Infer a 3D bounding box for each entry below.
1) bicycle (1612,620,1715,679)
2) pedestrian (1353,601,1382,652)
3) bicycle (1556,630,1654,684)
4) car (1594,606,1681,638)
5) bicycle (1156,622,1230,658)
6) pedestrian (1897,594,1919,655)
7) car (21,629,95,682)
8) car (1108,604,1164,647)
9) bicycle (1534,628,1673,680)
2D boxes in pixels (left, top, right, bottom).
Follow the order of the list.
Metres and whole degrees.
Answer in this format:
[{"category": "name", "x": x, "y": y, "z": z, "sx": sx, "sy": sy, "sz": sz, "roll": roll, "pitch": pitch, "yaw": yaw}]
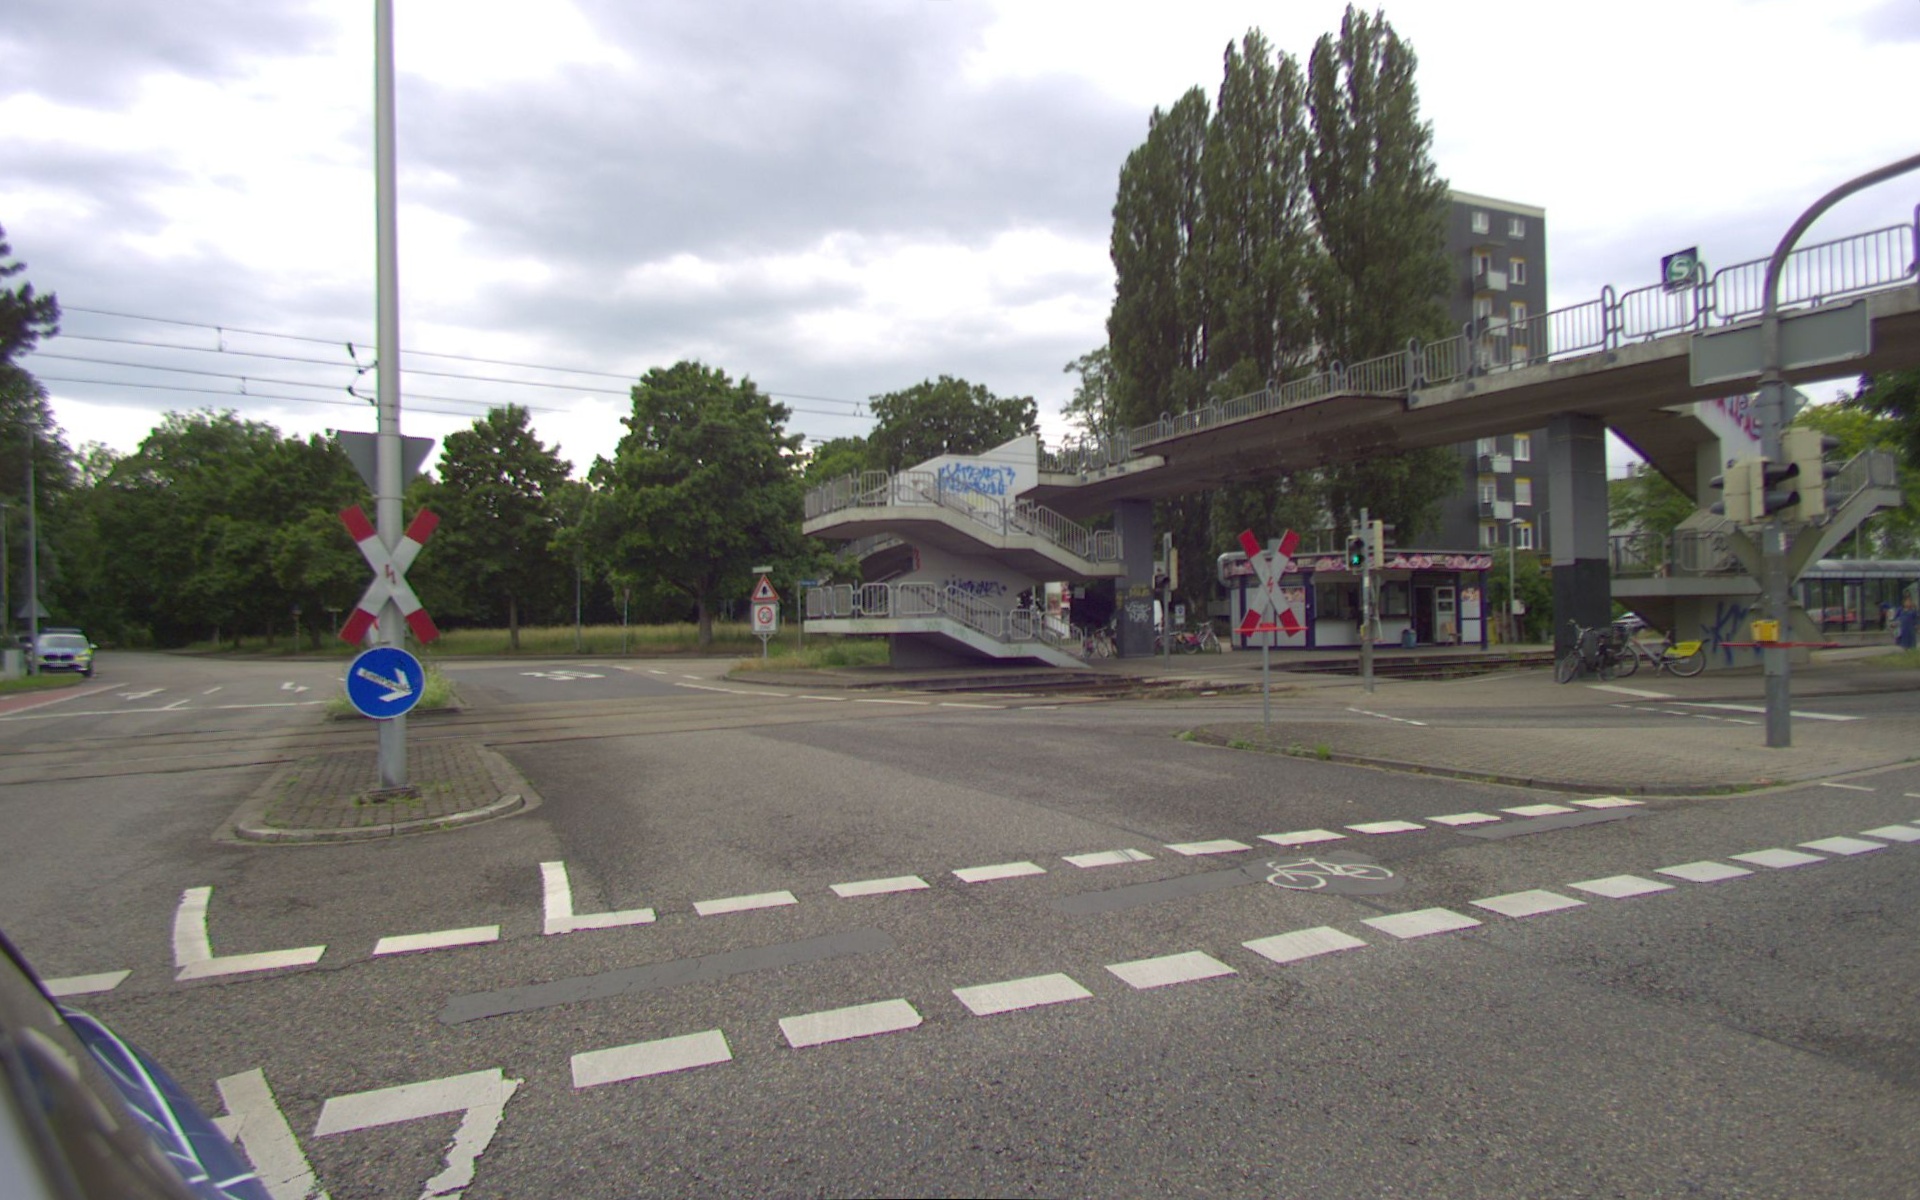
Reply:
[{"category": "bicycle", "x": 13.649, "y": 0.949, "z": 19.677, "sx": 1.611, "sy": 1.103, "sz": 0.347, "roll": -2, "pitch": -1, "yaw": 33}, {"category": "pedestrian", "x": 13.543, "y": 0.885, "z": 33.645, "sx": 0.674, "sy": 1.677, "sz": 0.544, "roll": -1, "pitch": -2, "yaw": -25}, {"category": "bicycle", "x": 12.124, "y": 1.052, "z": 19.003, "sx": 2.002, "sy": 0.928, "sz": 0.375, "roll": -1, "pitch": 0, "yaw": -19}, {"category": "car", "x": 34.675, "y": 1.109, "z": 51.828, "sx": 3.931, "sy": 1.572, "sz": 1.674, "roll": -1, "pitch": -1, "yaw": -20}, {"category": "bicycle", "x": 7.720, "y": 1.314, "z": 33.468, "sx": 2.747, "sy": 1.123, "sz": 0.994, "roll": 0, "pitch": -2, "yaw": -42}, {"category": "pedestrian", "x": 24.862, "y": 0.628, "z": 26.342, "sx": 0.329, "sy": 1.576, "sz": 0.562, "roll": 0, "pitch": -1, "yaw": -30}, {"category": "car", "x": -33.839, "y": 2.062, "z": 37.937, "sx": 1.907, "sy": 1.864, "sz": 4.004, "roll": 3, "pitch": -4, "yaw": -43}, {"category": "car", "x": 10.130, "y": 1.405, "z": 58.680, "sx": 2.110, "sy": 2.309, "sz": 5.210, "roll": -1, "pitch": 0, "yaw": -2}, {"category": "bicycle", "x": 12.145, "y": 1.008, "z": 19.123, "sx": 2.369, "sy": 0.895, "sz": 0.558, "roll": -1, "pitch": -1, "yaw": -7}]
